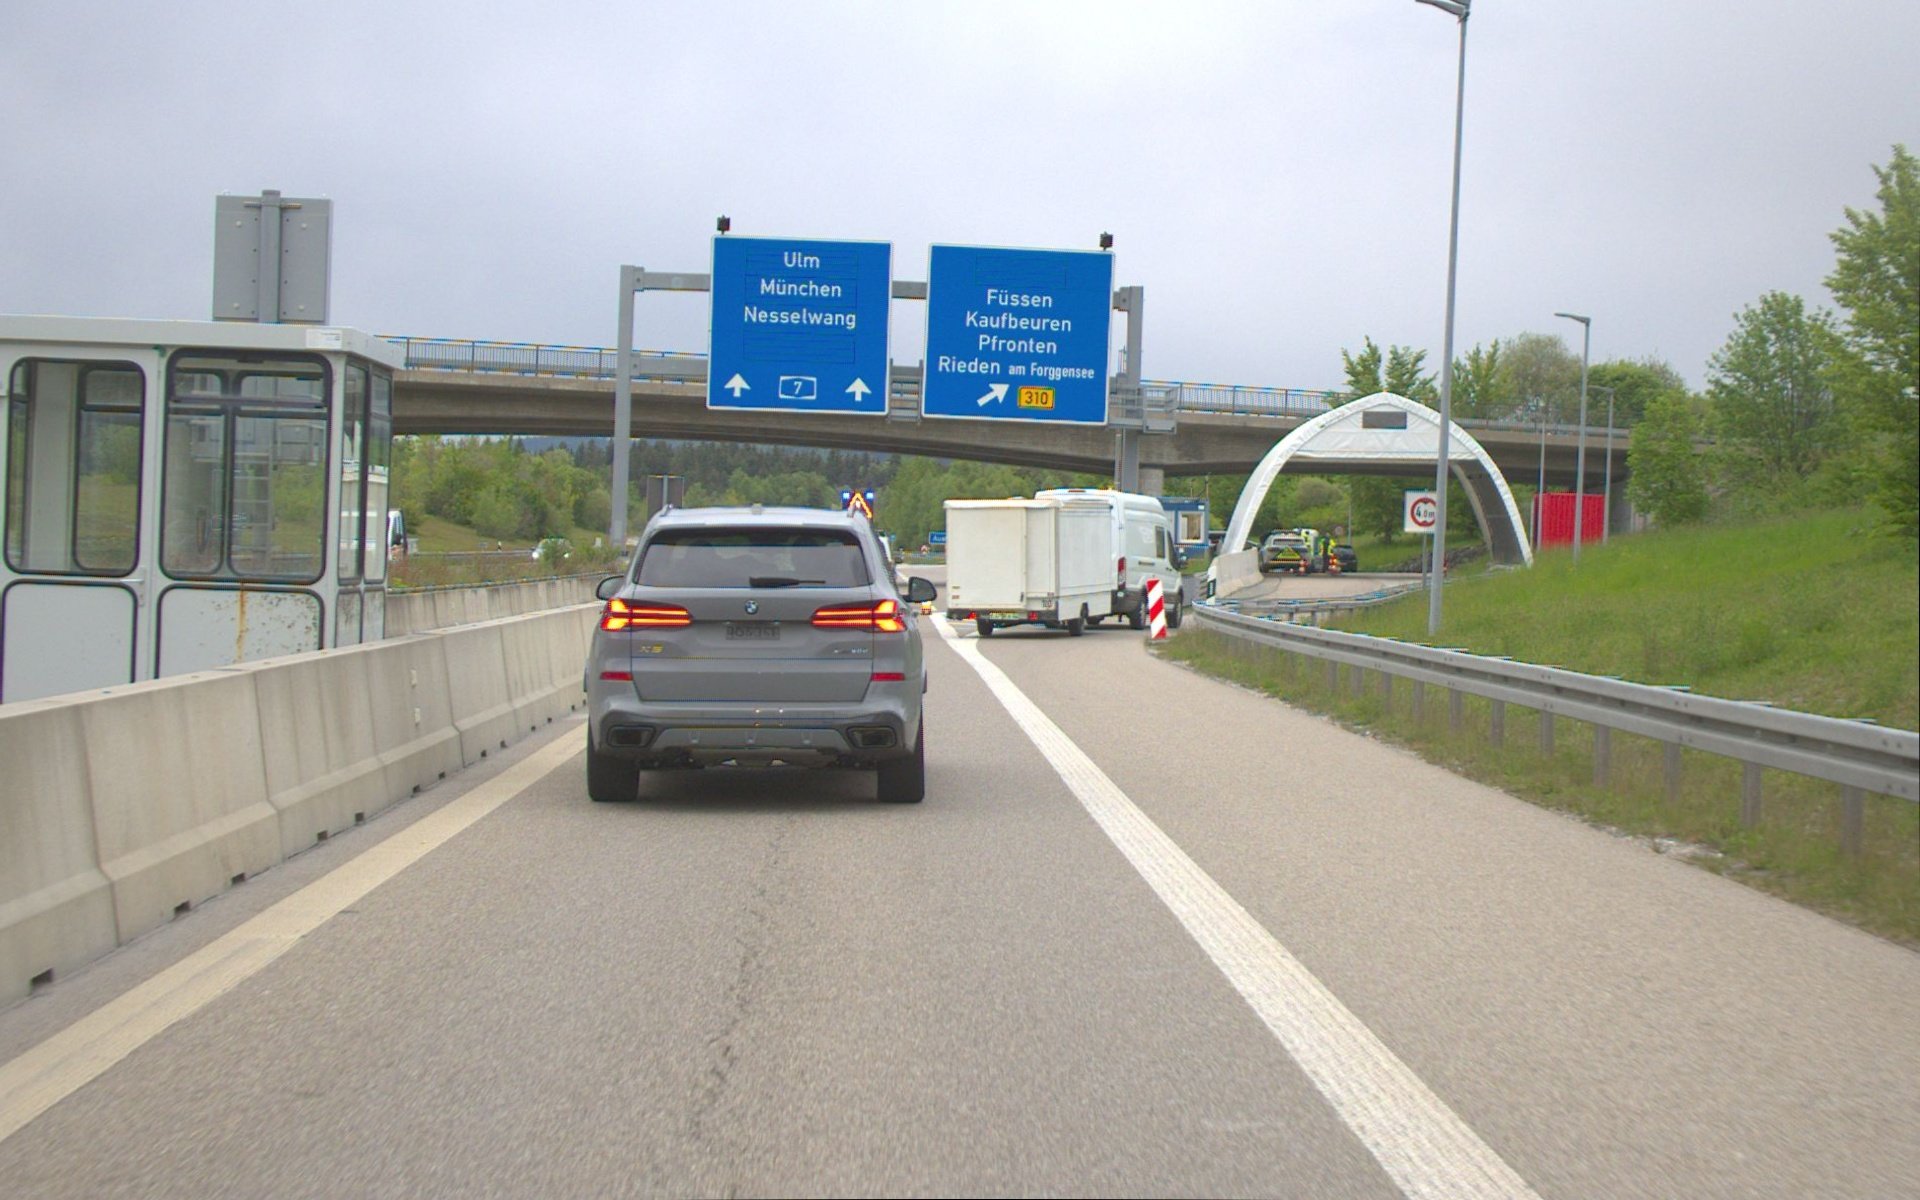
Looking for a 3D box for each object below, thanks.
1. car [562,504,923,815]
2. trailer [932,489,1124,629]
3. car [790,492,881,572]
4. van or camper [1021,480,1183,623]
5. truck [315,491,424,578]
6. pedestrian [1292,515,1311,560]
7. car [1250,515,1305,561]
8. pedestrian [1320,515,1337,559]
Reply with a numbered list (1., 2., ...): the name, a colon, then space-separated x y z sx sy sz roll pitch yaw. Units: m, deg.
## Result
1. car: -1.247 0.298 21.172 1.993 1.713 4.000 1 1 -1
2. trailer: 1.337 -0.747 63.226 2.280 2.422 6.814 1 1 12
3. car: -3.252 -1.795 89.504 2.286 2.006 5.051 1 2 -2
4. van or camper: 2.923 -0.966 69.408 2.158 2.754 5.868 1 1 13
5. truck: -17.685 -1.956 103.184 2.356 2.471 5.989 1 1 -2
6. pedestrian: 13.682 -2.502 137.795 0.720 1.769 0.690 0 1 3
7. car: 12.505 -2.454 135.522 1.994 1.766 3.765 0 1 3
8. pedestrian: 14.865 -2.526 138.670 0.648 1.769 0.606 0 1 1
